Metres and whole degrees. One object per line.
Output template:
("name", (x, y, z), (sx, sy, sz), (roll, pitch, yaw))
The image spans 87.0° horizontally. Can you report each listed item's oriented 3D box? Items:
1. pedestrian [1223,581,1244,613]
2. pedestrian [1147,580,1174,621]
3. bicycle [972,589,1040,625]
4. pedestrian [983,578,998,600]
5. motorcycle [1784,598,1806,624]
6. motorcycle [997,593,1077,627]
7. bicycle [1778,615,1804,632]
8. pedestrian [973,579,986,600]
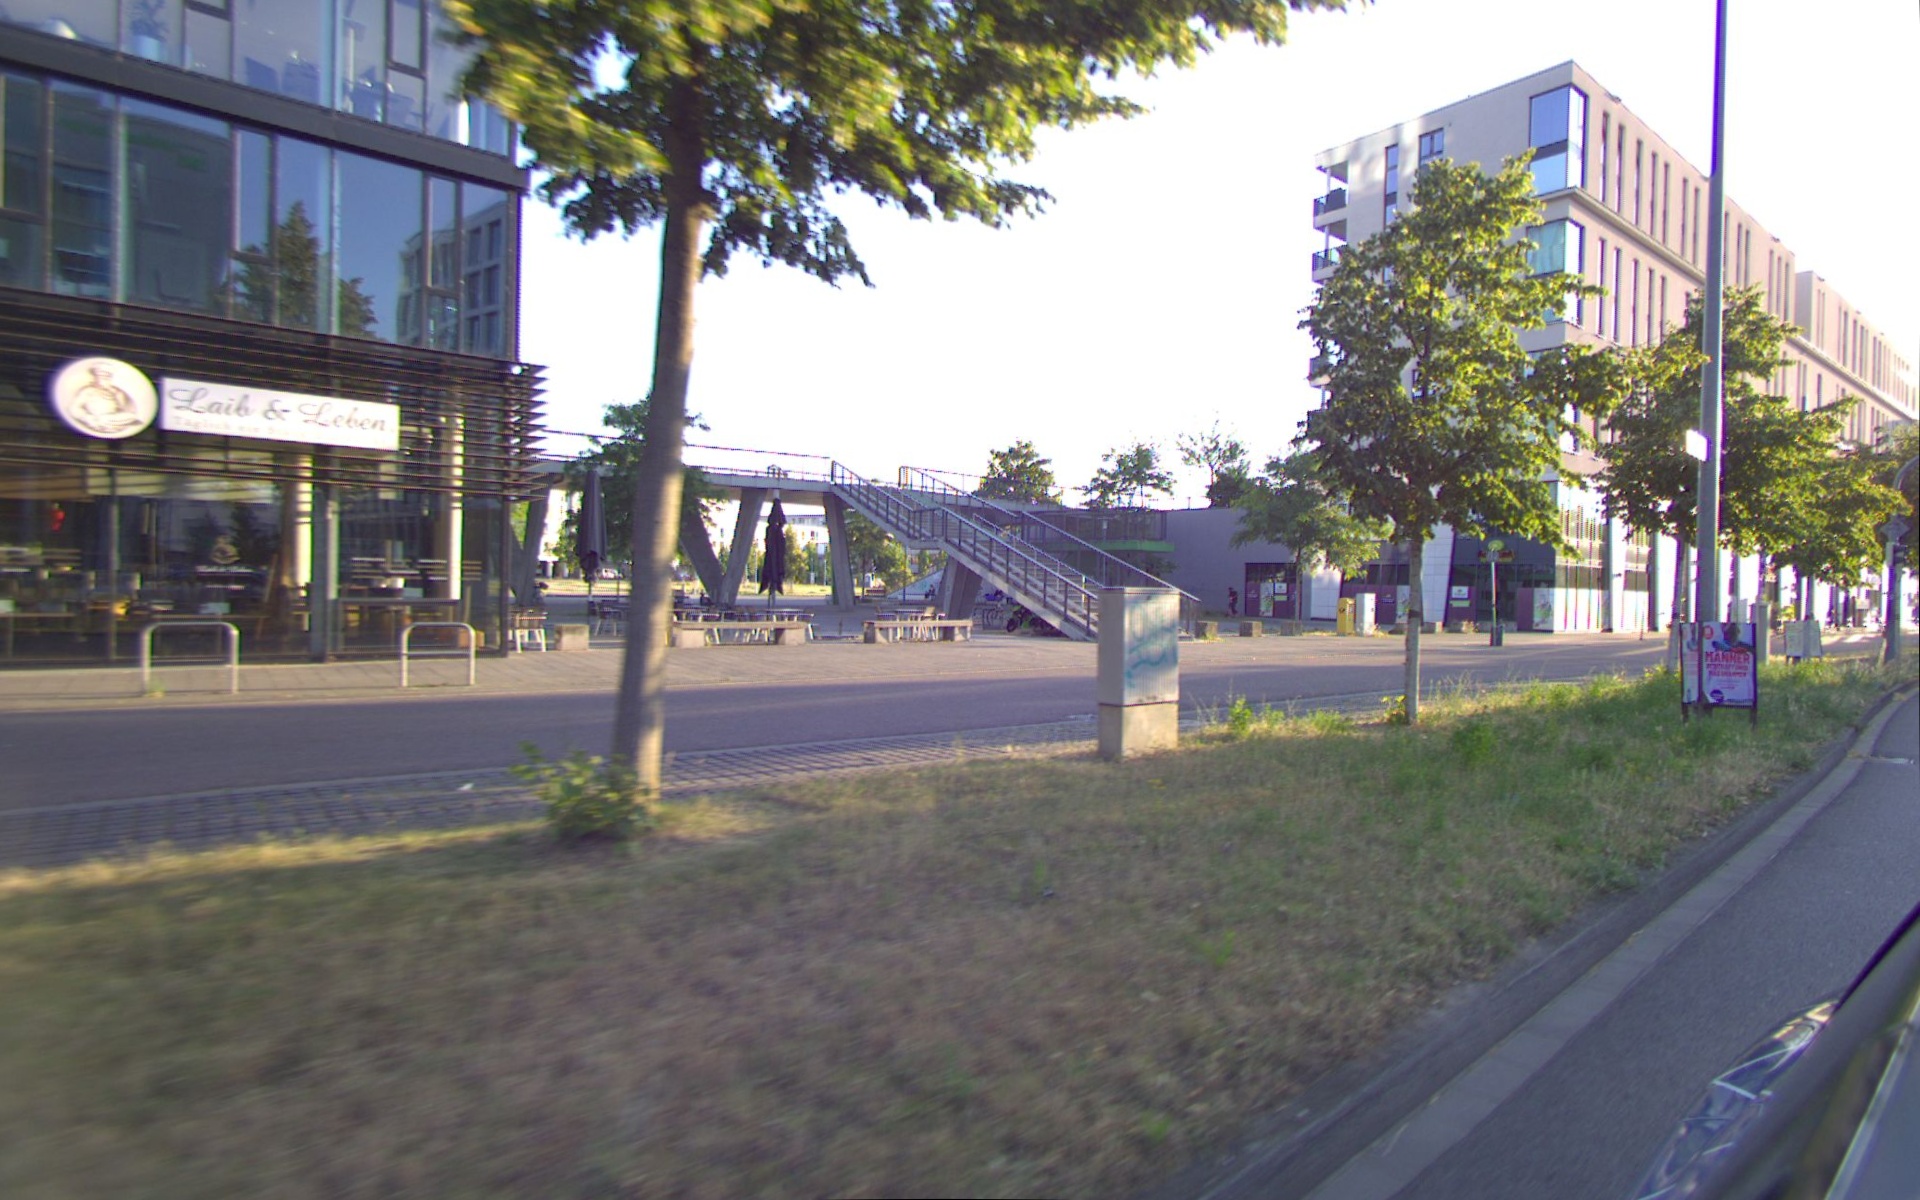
("pedestrian", (14.965, -0.166, 55.399), (0.750, 1.703, 0.767), (1, 0, -36))
("pedestrian", (9.296, 0.031, 46.864), (0.825, 1.867, 0.896), (1, 0, -44))
("bicycle", (1.696, 0.253, 36.939), (2.399, 1.252, 0.734), (1, 0, -28))
("pedestrian", (2.289, -0.802, 75.673), (0.782, 1.614, 0.718), (1, 0, -32))
("motorcycle", (55.173, 0.719, 66.861), (2.085, 1.720, 0.690), (1, 0, -39))
("motorcycle", (2.572, 0.332, 33.485), (2.636, 1.056, 0.734), (1, 0, -28))
("bicycle", (45.971, 1.290, 56.000), (0.539, 0.872, 1.567), (2, 1, 19))
("pedestrian", (1.481, -0.801, 76.497), (0.710, 1.614, 0.790), (2, 0, 27))
